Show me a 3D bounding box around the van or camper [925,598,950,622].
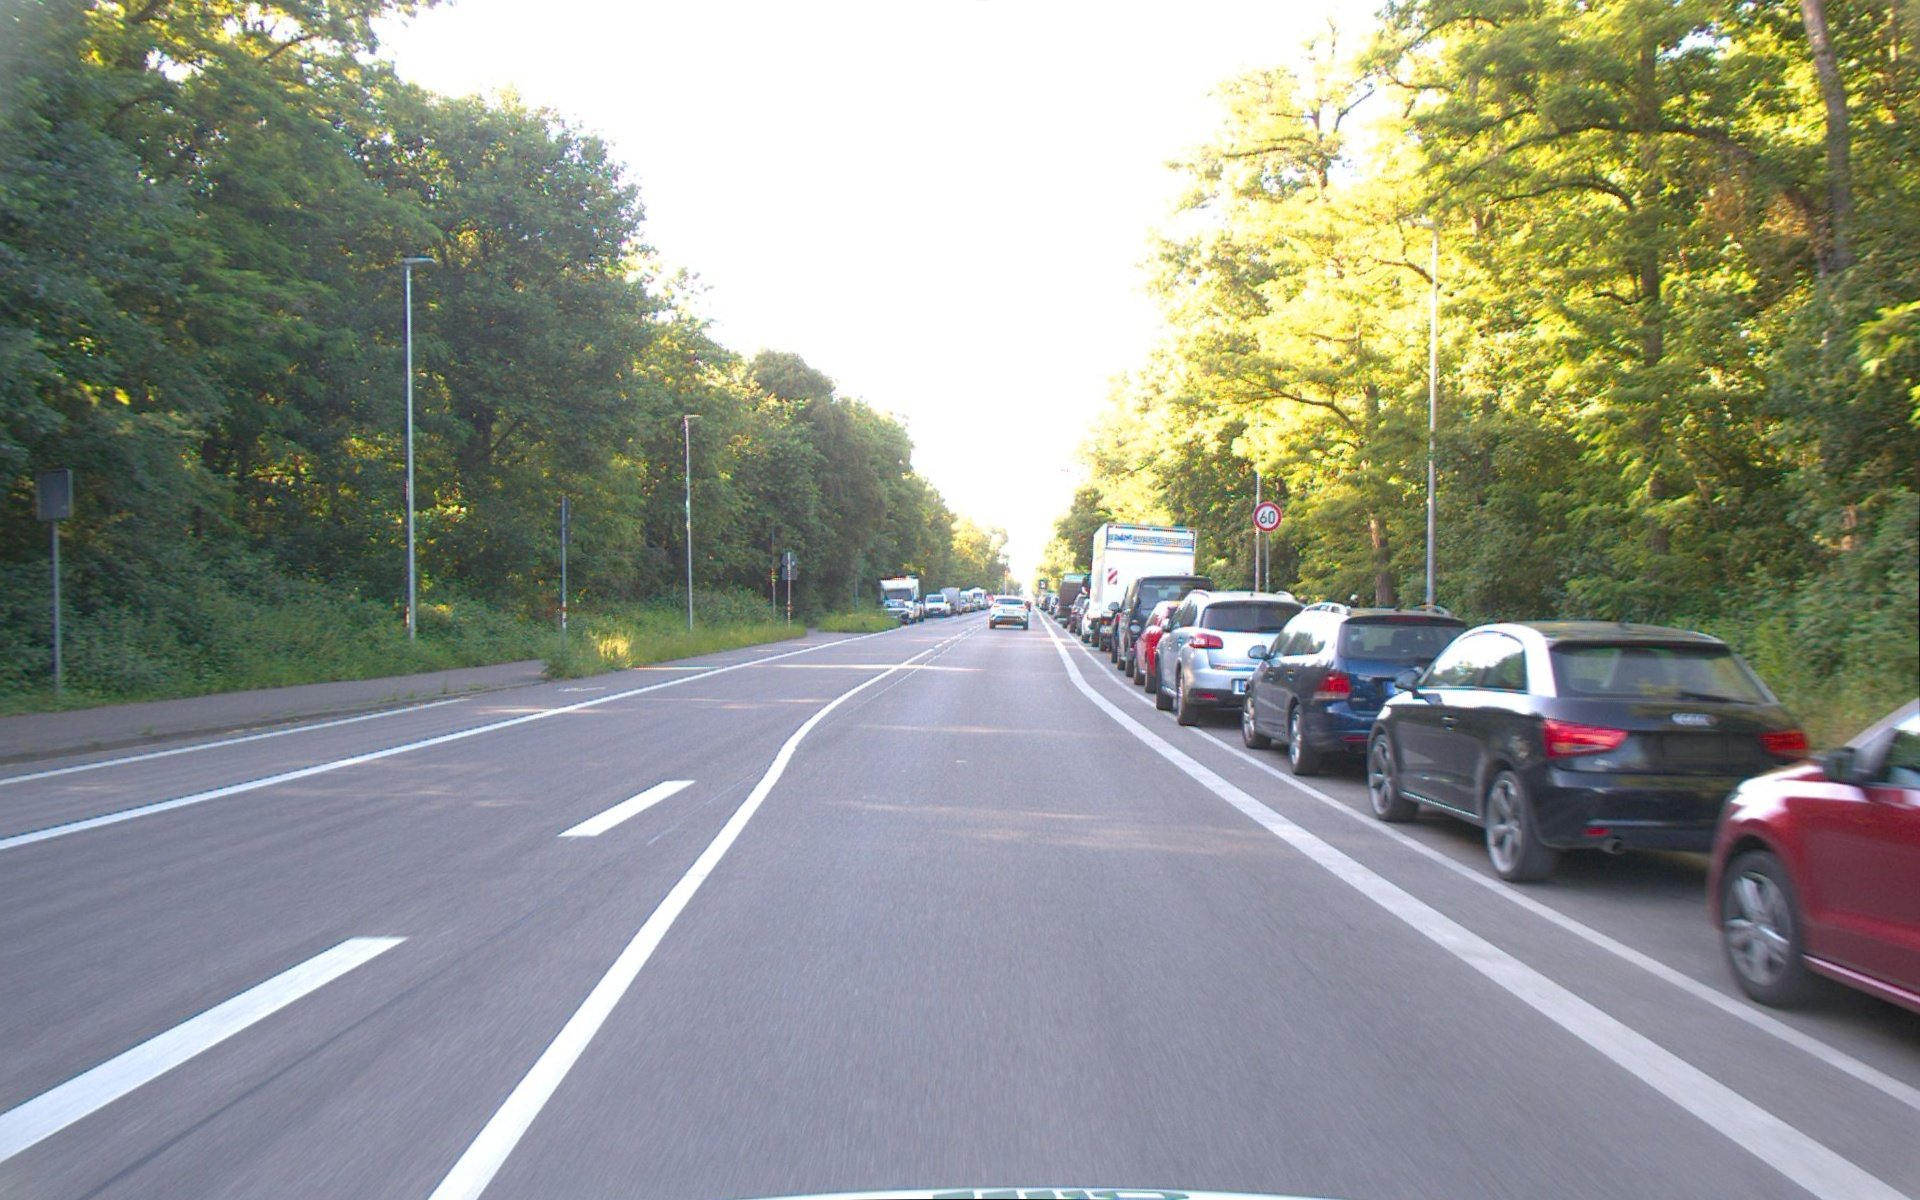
[{"bbox_3d":[-1.840,0.806,136.436,1.797,1.945,4.857,-1,0,2],"label":"van or camper"}]

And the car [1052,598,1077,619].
[{"bbox_3d":[8.154,0.686,129.626,1.711,1.542,4.000,-2,0,1],"label":"car"}]

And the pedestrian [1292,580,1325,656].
[{"bbox_3d":[8.409,0.429,39.928,0.605,1.795,0.907,-1,0,2],"label":"pedestrian"}]

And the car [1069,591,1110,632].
[{"bbox_3d":[5.730,0.474,73.595,1.676,1.694,4.553,2,0,4],"label":"car"}]

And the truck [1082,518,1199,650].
[{"bbox_3d":[5.223,-0.448,49.215,2.774,3.559,8.580,0,0,2],"label":"truck"}]

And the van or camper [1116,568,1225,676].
[{"bbox_3d":[4.224,0.407,33.801,1.858,2.049,4.588,0,0,3],"label":"van or camper"}]

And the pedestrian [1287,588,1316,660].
[{"bbox_3d":[7.732,0.537,37.411,0.552,1.616,0.482,-1,0,2],"label":"pedestrian"}]

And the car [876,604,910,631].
[{"bbox_3d":[-3.816,0.980,95.175,1.790,1.501,4.680,-1,0,-1],"label":"car"}]

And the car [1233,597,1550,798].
[{"bbox_3d":[3.865,0.782,15.633,1.770,1.545,4.504,2,0,0],"label":"car"}]

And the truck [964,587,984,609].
[{"bbox_3d":[2.284,-0.368,264.077,2.651,3.406,10.927,0,0,3],"label":"truck"}]

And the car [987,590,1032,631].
[{"bbox_3d":[2.325,0.458,76.905,1.986,1.872,4.030,0,0,3],"label":"car"}]

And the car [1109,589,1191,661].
[{"bbox_3d":[4.615,0.579,40.638,1.761,1.686,4.030,0,0,3],"label":"car"}]

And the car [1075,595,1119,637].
[{"bbox_3d":[5.607,0.619,68.039,1.676,1.595,4.553,2,0,4],"label":"car"}]

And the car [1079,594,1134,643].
[{"bbox_3d":[5.079,0.617,57.671,1.676,1.595,4.001,2,0,2],"label":"car"}]

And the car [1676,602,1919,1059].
[{"bbox_3d":[3.980,0.790,5.261,1.584,1.494,3.722,2,0,-3],"label":"car"}]

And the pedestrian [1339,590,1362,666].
[{"bbox_3d":[8.442,0.601,35.754,0.386,1.616,0.482,-1,0,2],"label":"pedestrian"}]

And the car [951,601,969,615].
[{"bbox_3d":[0.015,0.841,185.565,1.695,1.504,4.325,-2,0,3],"label":"car"}]

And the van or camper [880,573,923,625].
[{"bbox_3d":[-3.587,-0.079,102.541,2.267,3.022,7.111,-2,0,0],"label":"van or camper"}]

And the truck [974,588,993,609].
[{"bbox_3d":[3.632,-0.273,252.341,2.651,3.148,7.992,0,0,3],"label":"truck"}]

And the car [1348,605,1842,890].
[{"bbox_3d":[3.755,0.778,10.510,1.562,1.425,3.797,1,0,-2],"label":"car"}]

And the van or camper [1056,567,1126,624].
[{"bbox_3d":[6.899,-0.226,86.278,2.389,2.849,6.561,-1,0,16],"label":"van or camper"}]

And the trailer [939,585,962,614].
[{"bbox_3d":[-0.913,-0.021,159.465,1.952,2.643,4.417,-2,0,3],"label":"trailer"}]

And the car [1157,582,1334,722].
[{"bbox_3d":[3.548,0.599,21.212,1.761,1.623,4.030,0,0,3],"label":"car"}]

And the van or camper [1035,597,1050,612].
[{"bbox_3d":[11.132,0.586,222.948,1.952,1.966,5.200,1,0,3],"label":"van or camper"}]
